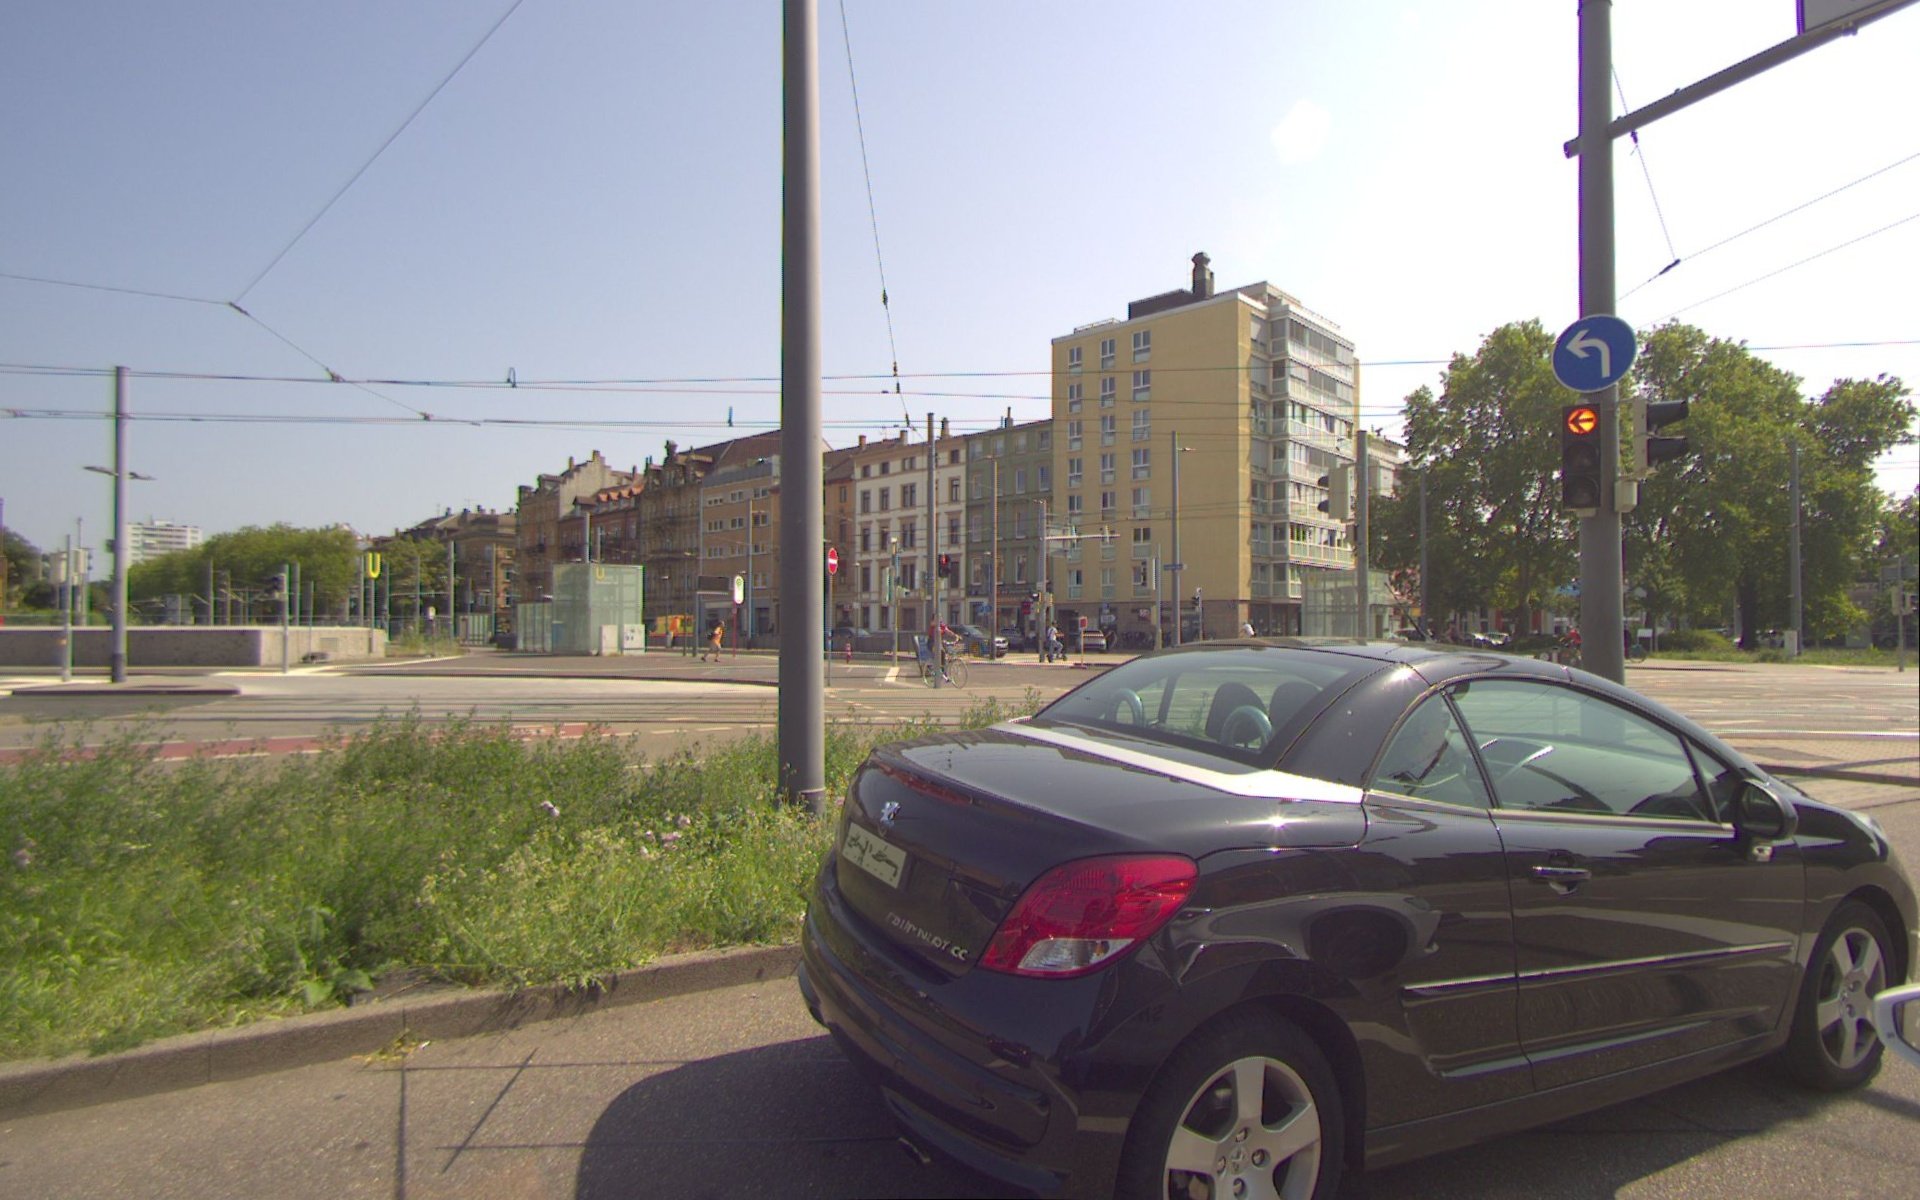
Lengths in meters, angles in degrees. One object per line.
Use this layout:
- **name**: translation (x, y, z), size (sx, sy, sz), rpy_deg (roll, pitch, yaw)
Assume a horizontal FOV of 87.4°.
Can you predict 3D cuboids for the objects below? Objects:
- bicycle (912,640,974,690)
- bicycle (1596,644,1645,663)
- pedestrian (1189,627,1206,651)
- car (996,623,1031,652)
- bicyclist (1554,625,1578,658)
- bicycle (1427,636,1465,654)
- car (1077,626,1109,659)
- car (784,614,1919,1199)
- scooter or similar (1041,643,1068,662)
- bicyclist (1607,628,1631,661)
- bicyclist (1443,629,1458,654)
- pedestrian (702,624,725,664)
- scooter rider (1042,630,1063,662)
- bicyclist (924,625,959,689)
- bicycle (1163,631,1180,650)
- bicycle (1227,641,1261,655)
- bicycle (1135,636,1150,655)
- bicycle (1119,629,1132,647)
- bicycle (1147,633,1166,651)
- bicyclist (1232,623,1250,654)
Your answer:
- **bicycle**: translation (-0.430, 1.528, 23.970), size (0.499, 1.108, 1.918), rpy_deg (1, -2, -35)
- **bicycle**: translation (30.605, 2.472, 46.569), size (1.836, 0.813, 0.604), rpy_deg (-1, -2, 43)
- **pedestrian**: translation (15.569, 2.544, 65.850), size (0.846, 1.563, 0.739), rpy_deg (-1, -2, 42)
- **car**: translation (3.563, 2.490, 66.466), size (1.767, 1.843, 4.003), rpy_deg (0, -2, 10)
- **bicyclist**: translation (28.063, 1.933, 46.521), size (0.494, 1.502, 0.863), rpy_deg (2, -2, -41)
- **bicycle**: translation (25.887, 2.386, 53.547), size (0.413, 0.954, 1.798), rpy_deg (2, -2, -41)
- **car**: translation (8.176, 2.574, 61.609), size (1.767, 1.951, 4.003), rpy_deg (0, -2, 10)
- **car**: translation (1.476, 0.789, 3.359), size (3.731, 1.406, 1.760), rpy_deg (1, 0, -26)
- **scooter or similar**: translation (4.171, 2.309, 44.188), size (1.132, 0.835, 0.517), rpy_deg (1, -2, -35)
- **bicyclist**: translation (30.573, 2.065, 46.614), size (0.861, 1.495, 0.543), rpy_deg (-1, -2, 43)
- **bicyclist**: translation (26.029, 2.210, 53.260), size (0.555, 1.310, 0.540), rpy_deg (2, -2, -41)
- **pedestrian**: translation (-9.923, 1.767, 40.403), size (0.844, 1.563, 0.742), rpy_deg (1, -2, -11)
- **scooter rider**: translation (4.068, 2.013, 44.236), size (0.602, 1.371, 0.682), rpy_deg (1, -2, -35)
- **bicyclist**: translation (-0.444, 1.357, 24.133), size (0.632, 1.529, 0.553), rpy_deg (1, -2, -36)
- **bicycle**: translation (13.951, 2.679, 66.381), size (0.680, 1.220, 3.265), rpy_deg (0, -2, 5)
- **bicycle**: translation (16.692, 2.826, 59.064), size (0.476, 0.813, 2.030), rpy_deg (2, -2, -41)
- **bicycle**: translation (12.360, 3.042, 67.952), size (0.680, 1.220, 3.265), rpy_deg (0, -2, 5)
- **bicycle**: translation (11.420, 2.638, 69.389), size (0.680, 1.220, 2.793), rpy_deg (0, -2, 5)
- **bicycle**: translation (13.140, 2.797, 67.149), size (0.892, 1.220, 3.265), rpy_deg (0, -2, 5)
- **bicyclist**: translation (16.581, 2.261, 59.205), size (0.494, 1.831, 0.915), rpy_deg (2, -2, -41)
